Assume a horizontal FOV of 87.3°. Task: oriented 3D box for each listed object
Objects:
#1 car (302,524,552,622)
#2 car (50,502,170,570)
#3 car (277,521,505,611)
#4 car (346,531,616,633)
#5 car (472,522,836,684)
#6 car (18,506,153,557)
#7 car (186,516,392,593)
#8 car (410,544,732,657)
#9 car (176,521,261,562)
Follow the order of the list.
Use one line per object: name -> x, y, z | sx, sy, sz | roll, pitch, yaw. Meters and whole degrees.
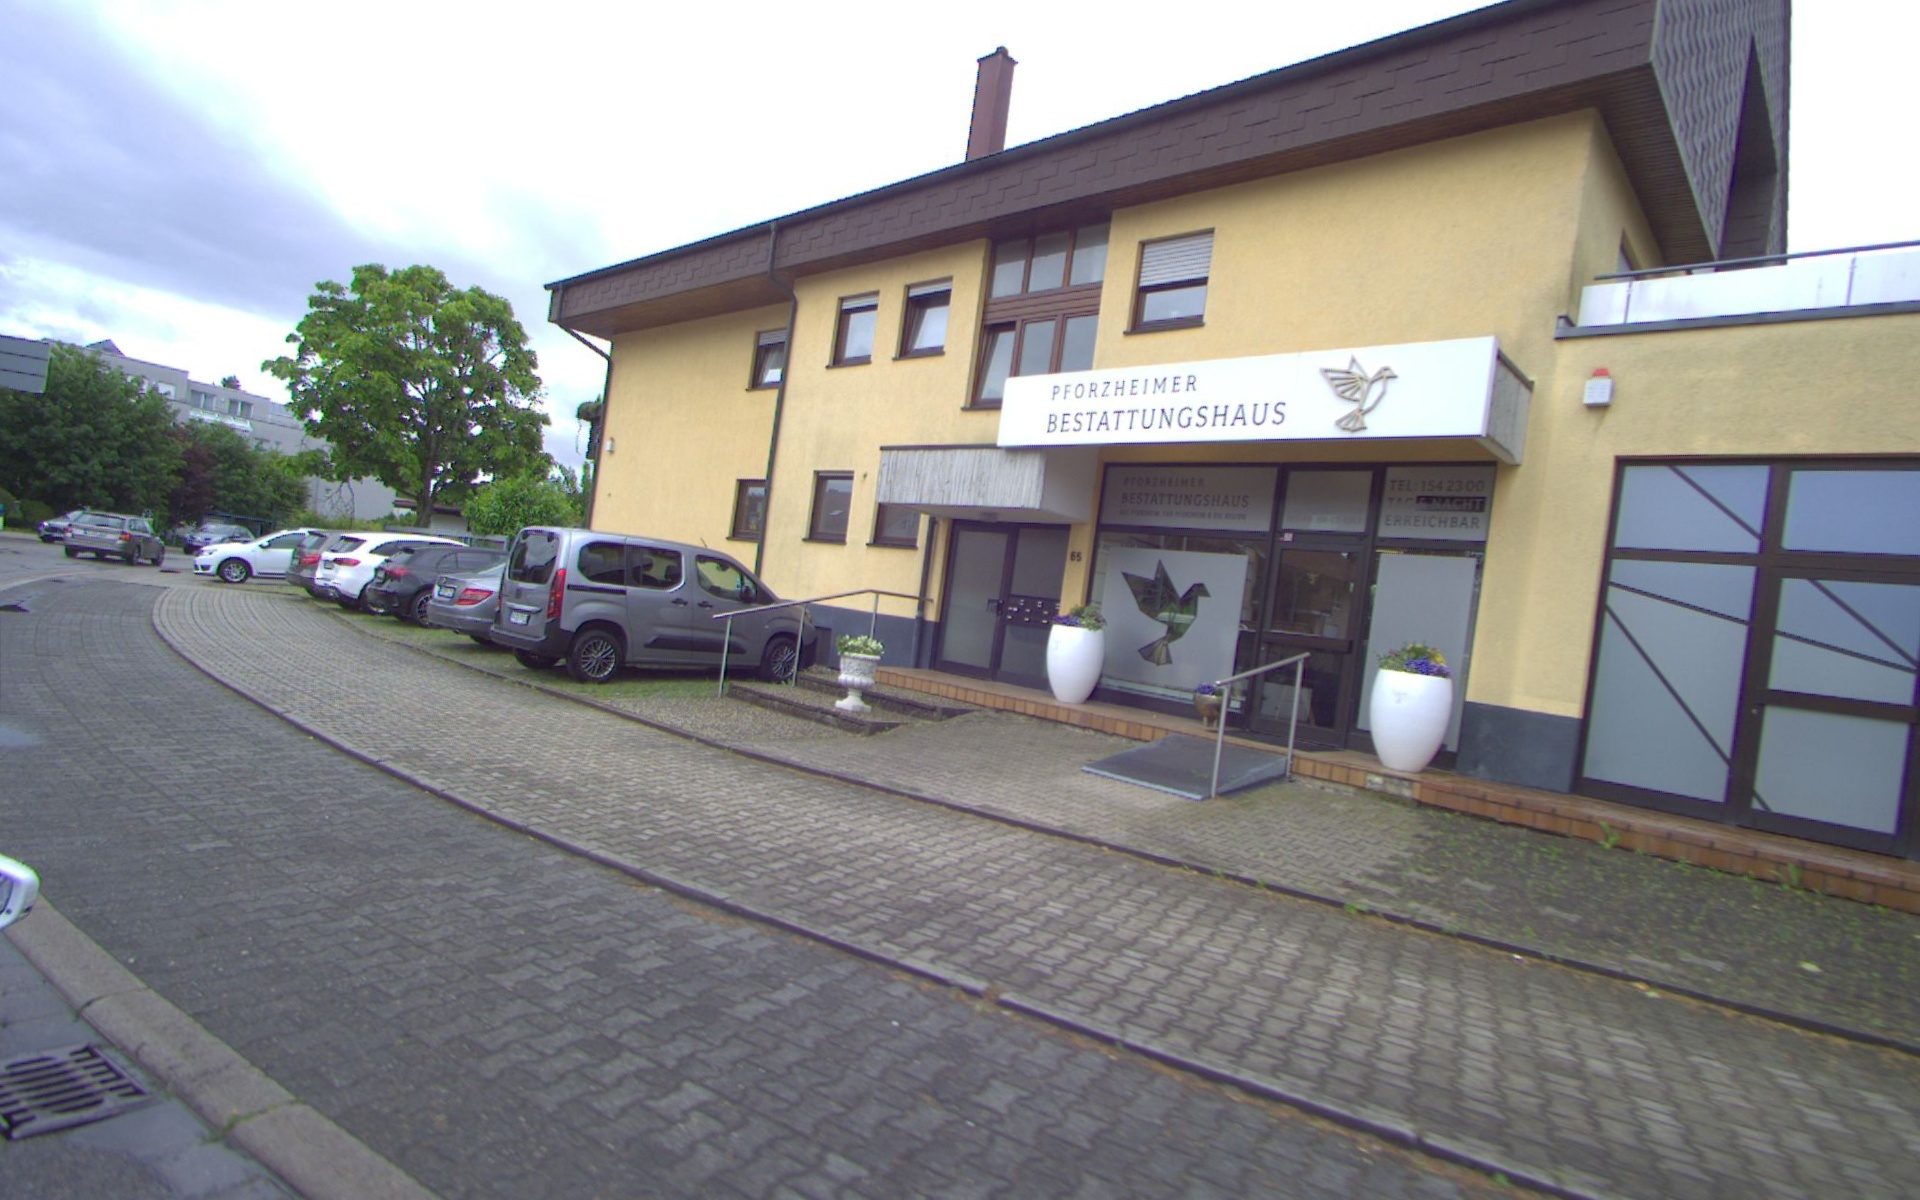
car -> -10.680, -0.495, 20.354 | 1.870, 1.617, 4.034 | 6, 1, 42
car -> -25.944, -1.889, 30.869 | 1.751, 1.526, 3.977 | 9, -4, -27
car -> -12.666, -0.727, 22.540 | 1.880, 1.617, 4.032 | 6, 2, 43
car -> -8.684, -0.291, 18.442 | 4.029, 1.509, 1.881 | 4, 2, -44
car -> -3.968, 0.088, 13.606 | 1.879, 1.804, 4.283 | 6, 2, 42
car -> -34.035, -2.633, 39.335 | 1.878, 1.407, 4.479 | 9, -1, -12
car -> -17.667, -1.171, 26.587 | 4.317, 1.617, 1.747 | 4, 2, -40
car -> -5.891, 0.065, 15.658 | 1.672, 1.442, 4.349 | 6, 1, 42
car -> -37.319, -2.906, 50.786 | 1.880, 1.677, 4.251 | 9, 0, -16
